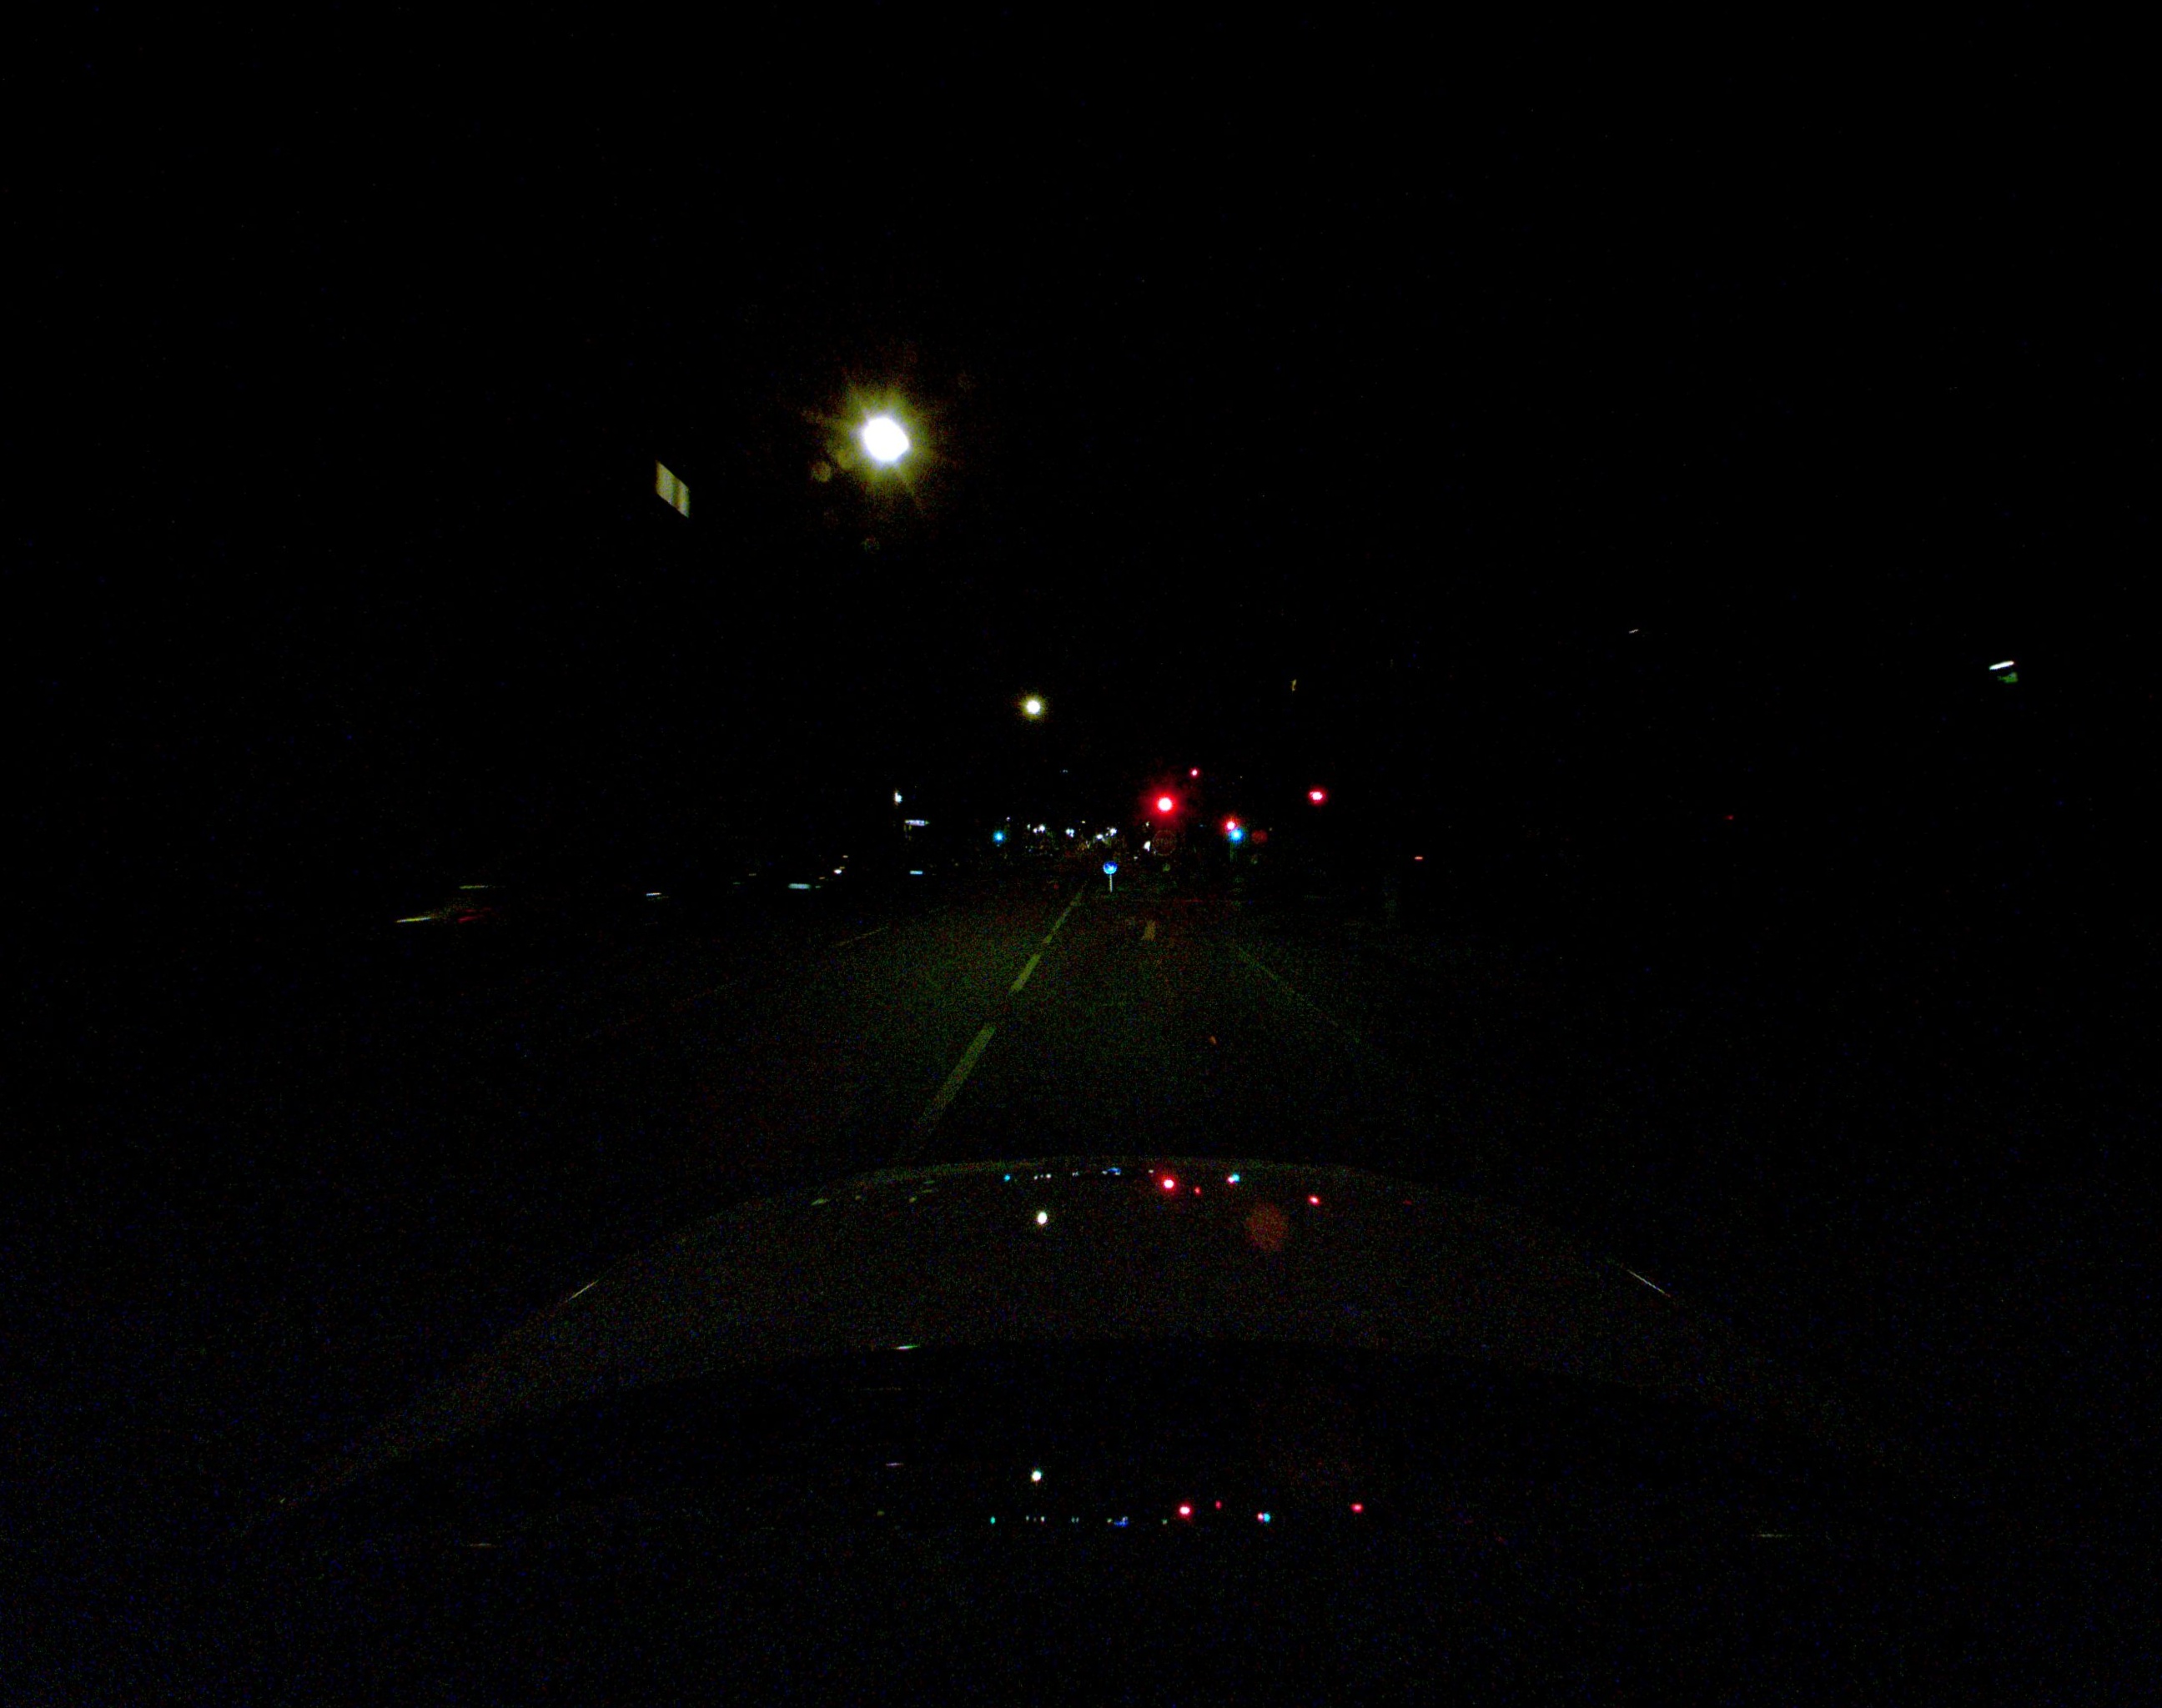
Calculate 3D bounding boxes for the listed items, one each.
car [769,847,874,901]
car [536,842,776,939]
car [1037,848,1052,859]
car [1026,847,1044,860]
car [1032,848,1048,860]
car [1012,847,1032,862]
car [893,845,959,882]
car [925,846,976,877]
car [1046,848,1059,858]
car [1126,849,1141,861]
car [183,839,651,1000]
[{"bbox_3d":[-7.246,0.522,23.225,1.617,1.382,4.450,0,0,-1],"label":"car"},{"bbox_3d":[-7.407,0.555,14.886,1.762,1.486,4.864,0,0,1],"label":"car"},{"bbox_3d":[-4.632,-0.095,104.968,1.645,1.431,4.002,0,0,2],"label":"car"},{"bbox_3d":[-5.207,-0.064,92.075,1.645,1.431,4.002,0,0,2],"label":"car"},{"bbox_3d":[-4.933,-0.038,98.084,1.645,1.431,4.002,0,0,2],"label":"car"},{"bbox_3d":[-6.081,0.043,84.054,1.645,1.431,4.002,0,0,2],"label":"car"},{"bbox_3d":[-6.835,0.372,36.389,1.892,1.471,4.454,2,1,2],"label":"car"},{"bbox_3d":[-6.552,0.371,41.381,1.797,1.481,4.324,1,0,1],"label":"car"},{"bbox_3d":[-4.100,-0.211,118.702,1.645,1.431,4.002,0,0,2],"label":"car"},{"bbox_3d":[6.067,0.089,94.413,1.644,1.431,4.003,0,0,3],"label":"car"},{"bbox_3d":[-7.392,0.600,9.907,1.762,1.486,4.767,0,0,0],"label":"car"}]
